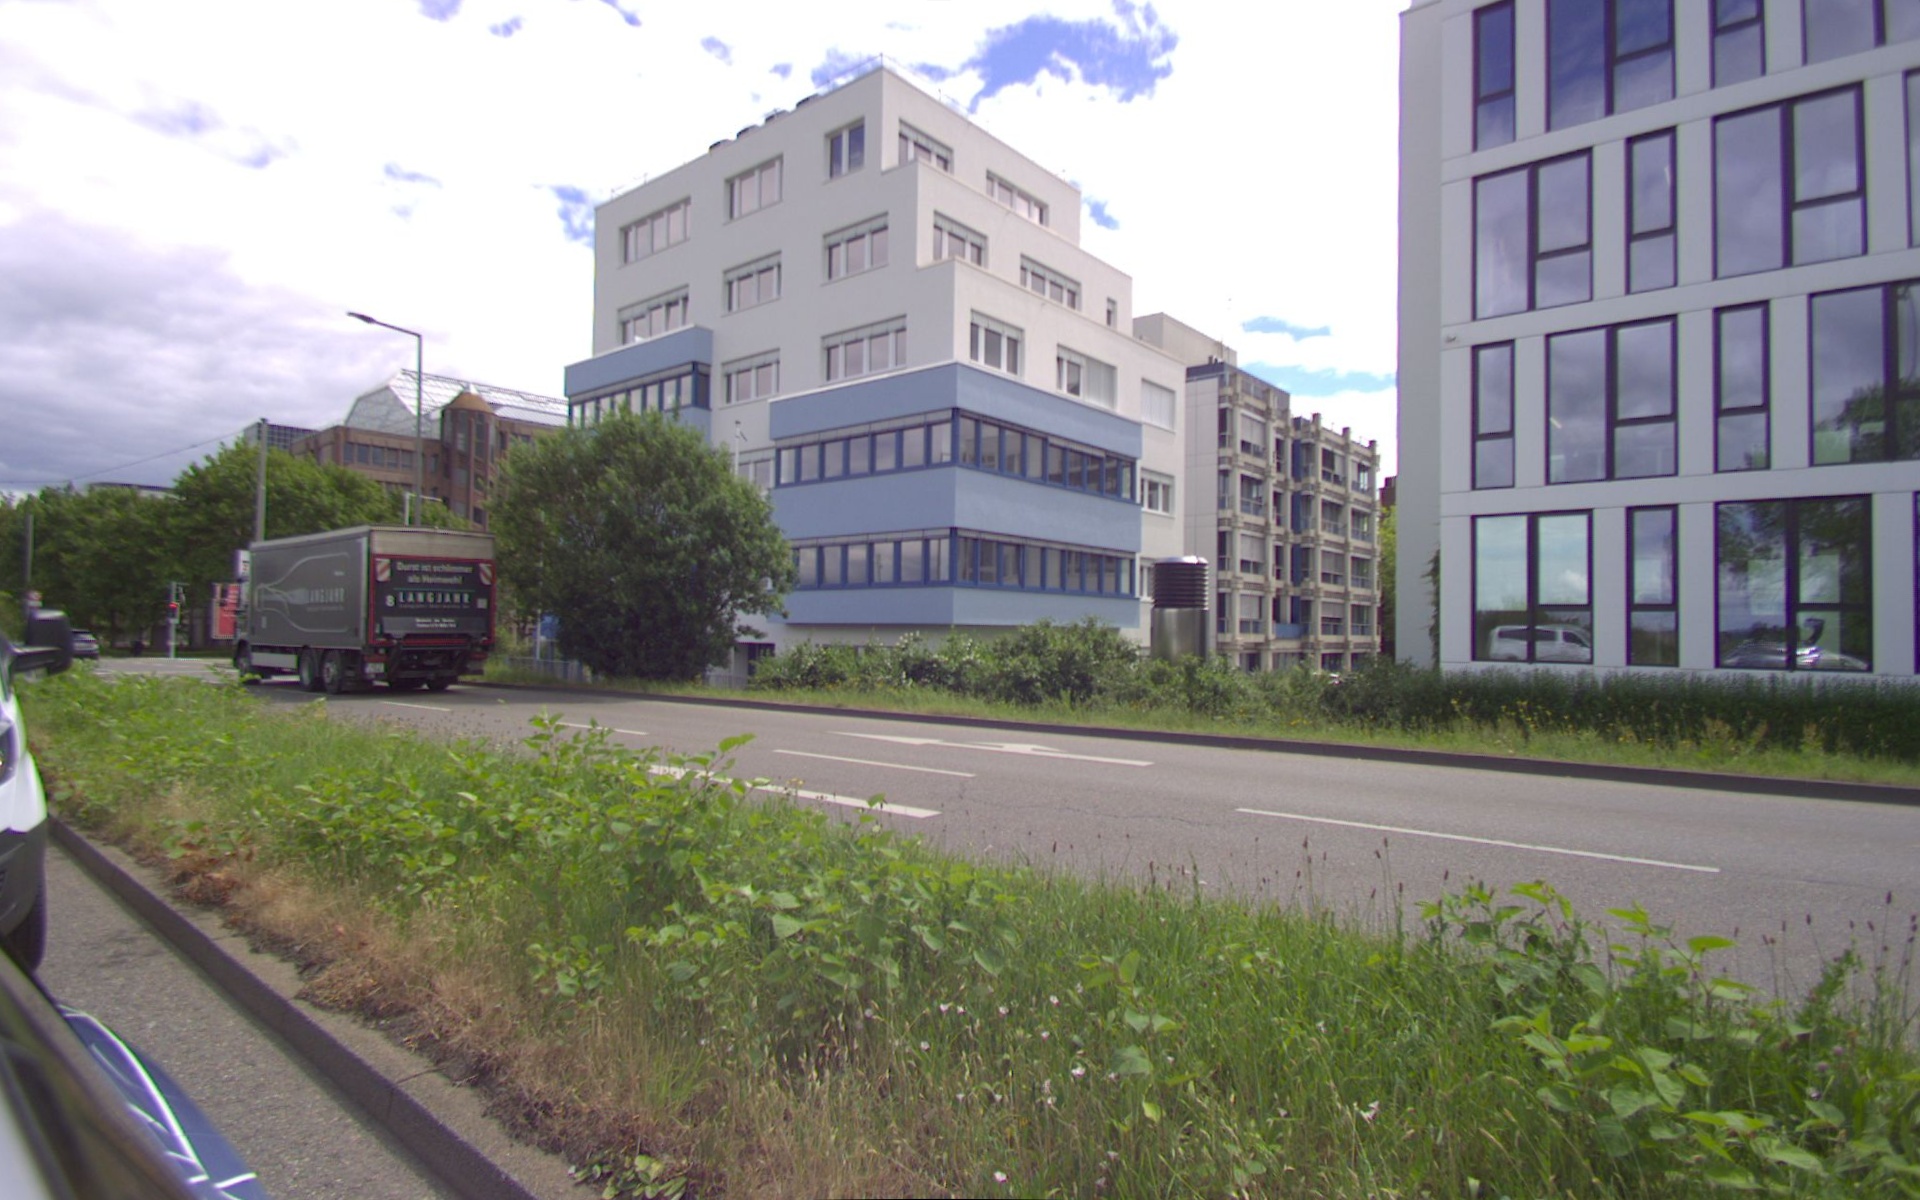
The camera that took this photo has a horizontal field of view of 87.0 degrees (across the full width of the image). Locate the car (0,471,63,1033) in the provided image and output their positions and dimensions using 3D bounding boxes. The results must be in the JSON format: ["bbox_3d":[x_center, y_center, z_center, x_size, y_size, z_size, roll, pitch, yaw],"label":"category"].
[{"bbox_3d":[-5.782,0.576,4.602,5.052,1.965,1.942,-2,-1,41],"label":"car"}]

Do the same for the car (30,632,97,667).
[{"bbox_3d":[-38.484,2.097,43.408,3.775,1.393,1.538,-2,-2,39],"label":"car"}]

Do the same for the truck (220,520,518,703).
[{"bbox_3d":[-14.246,0.275,23.930,9.519,3.544,3.135,-1,-1,40],"label":"truck"}]
